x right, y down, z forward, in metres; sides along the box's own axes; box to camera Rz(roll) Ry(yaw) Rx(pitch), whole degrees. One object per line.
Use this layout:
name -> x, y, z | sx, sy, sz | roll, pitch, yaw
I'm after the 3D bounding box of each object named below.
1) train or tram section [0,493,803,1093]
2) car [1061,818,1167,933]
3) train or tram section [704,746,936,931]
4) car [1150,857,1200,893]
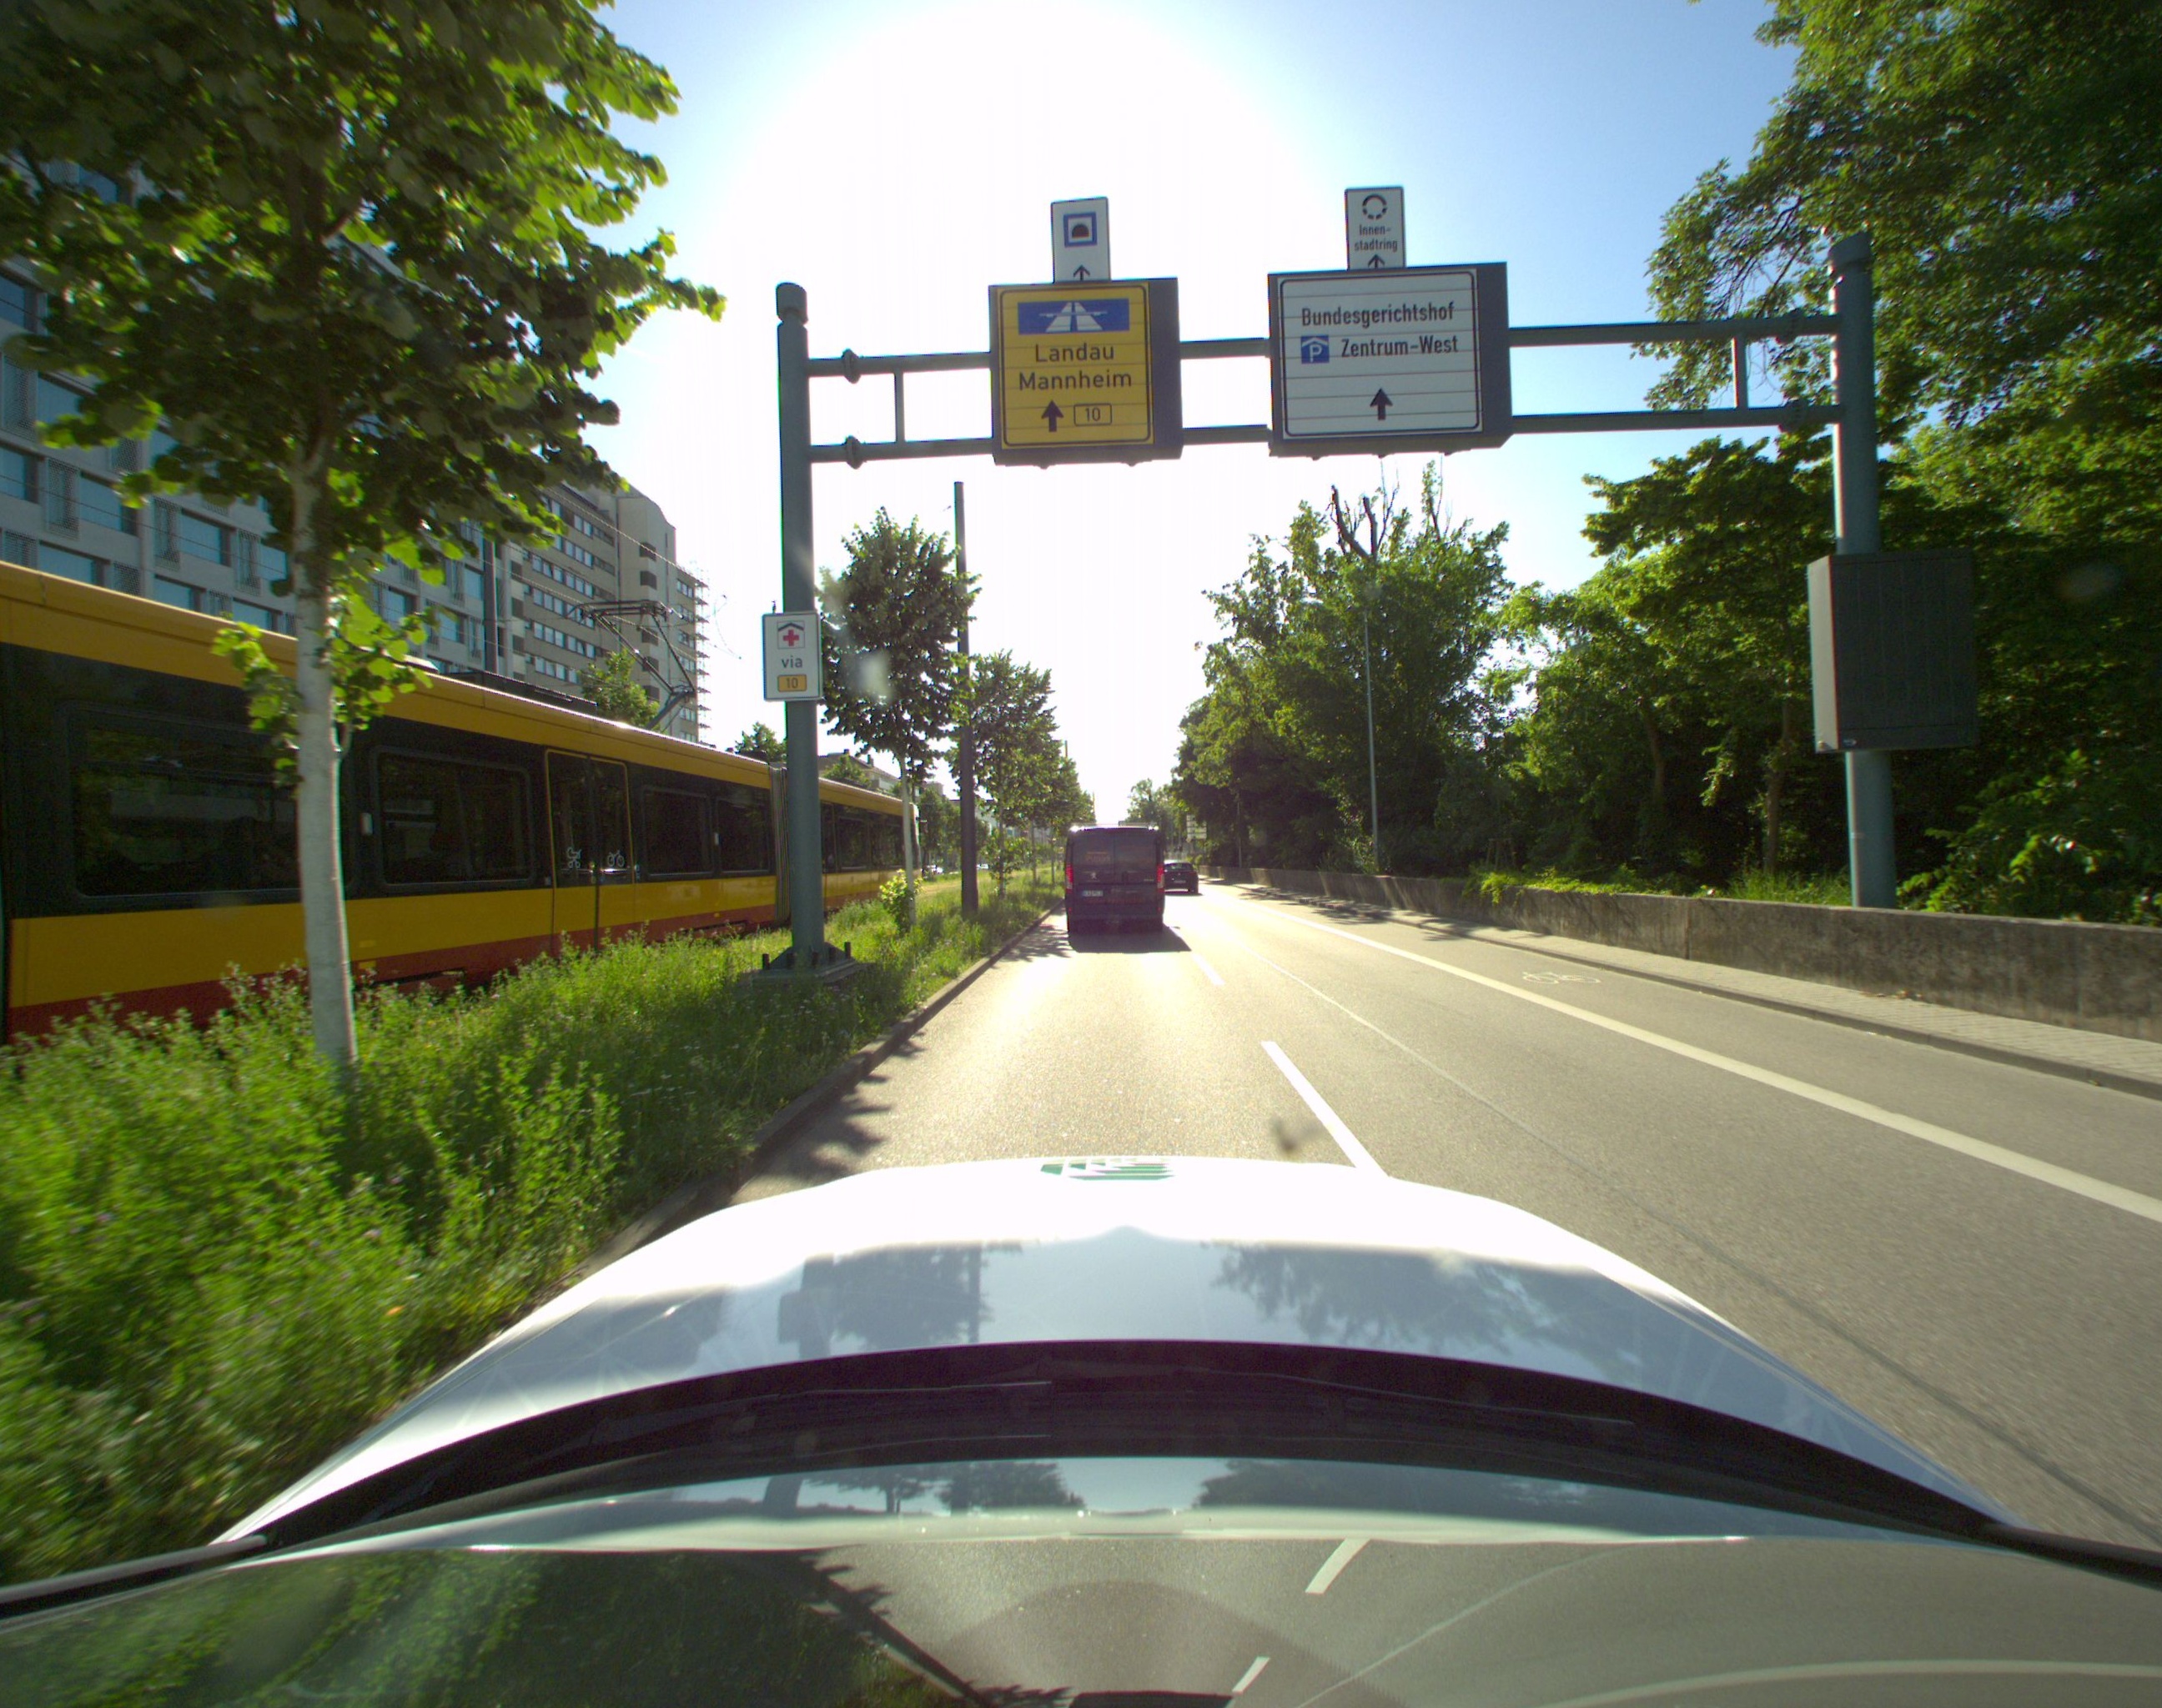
train or tram section -> -6.796, -0.324, 10.653 | 1.986, 3.669, 11.322 | -1, -1, 2
car -> 0.704, 0.440, 18.122 | 2.074, 2.249, 4.001 | -1, -1, 1
train or tram section -> -6.268, -0.266, 22.100 | 1.985, 3.669, 11.690 | -1, -1, 3
car -> 4.137, 0.899, 36.211 | 1.757, 1.462, 3.999 | -1, -1, 0
